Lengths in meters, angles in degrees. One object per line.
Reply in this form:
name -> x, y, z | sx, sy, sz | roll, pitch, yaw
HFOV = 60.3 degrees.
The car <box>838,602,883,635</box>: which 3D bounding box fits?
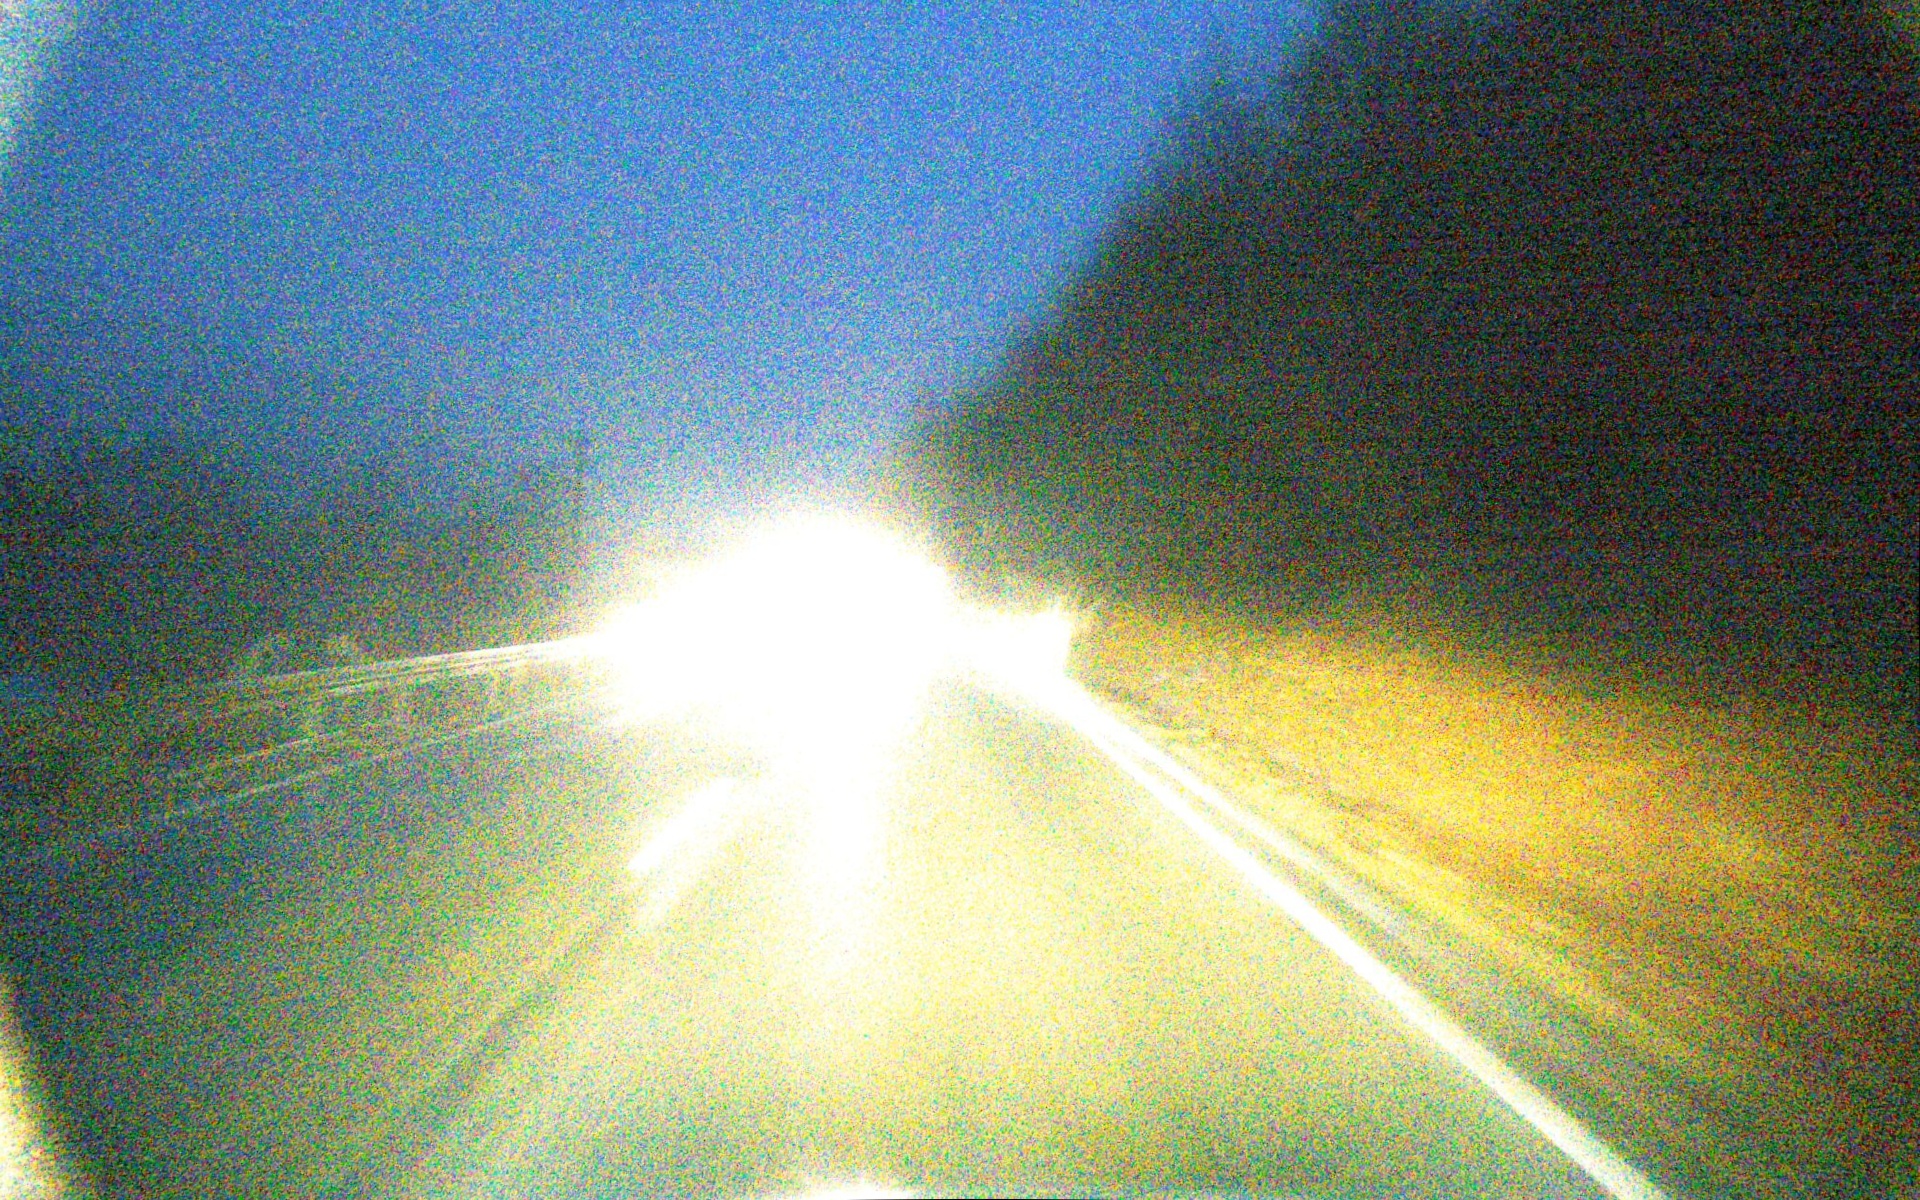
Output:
car -> -4.678, 0.840, 78.431 | 1.953, 1.473, 4.428 | 1, 0, -1
